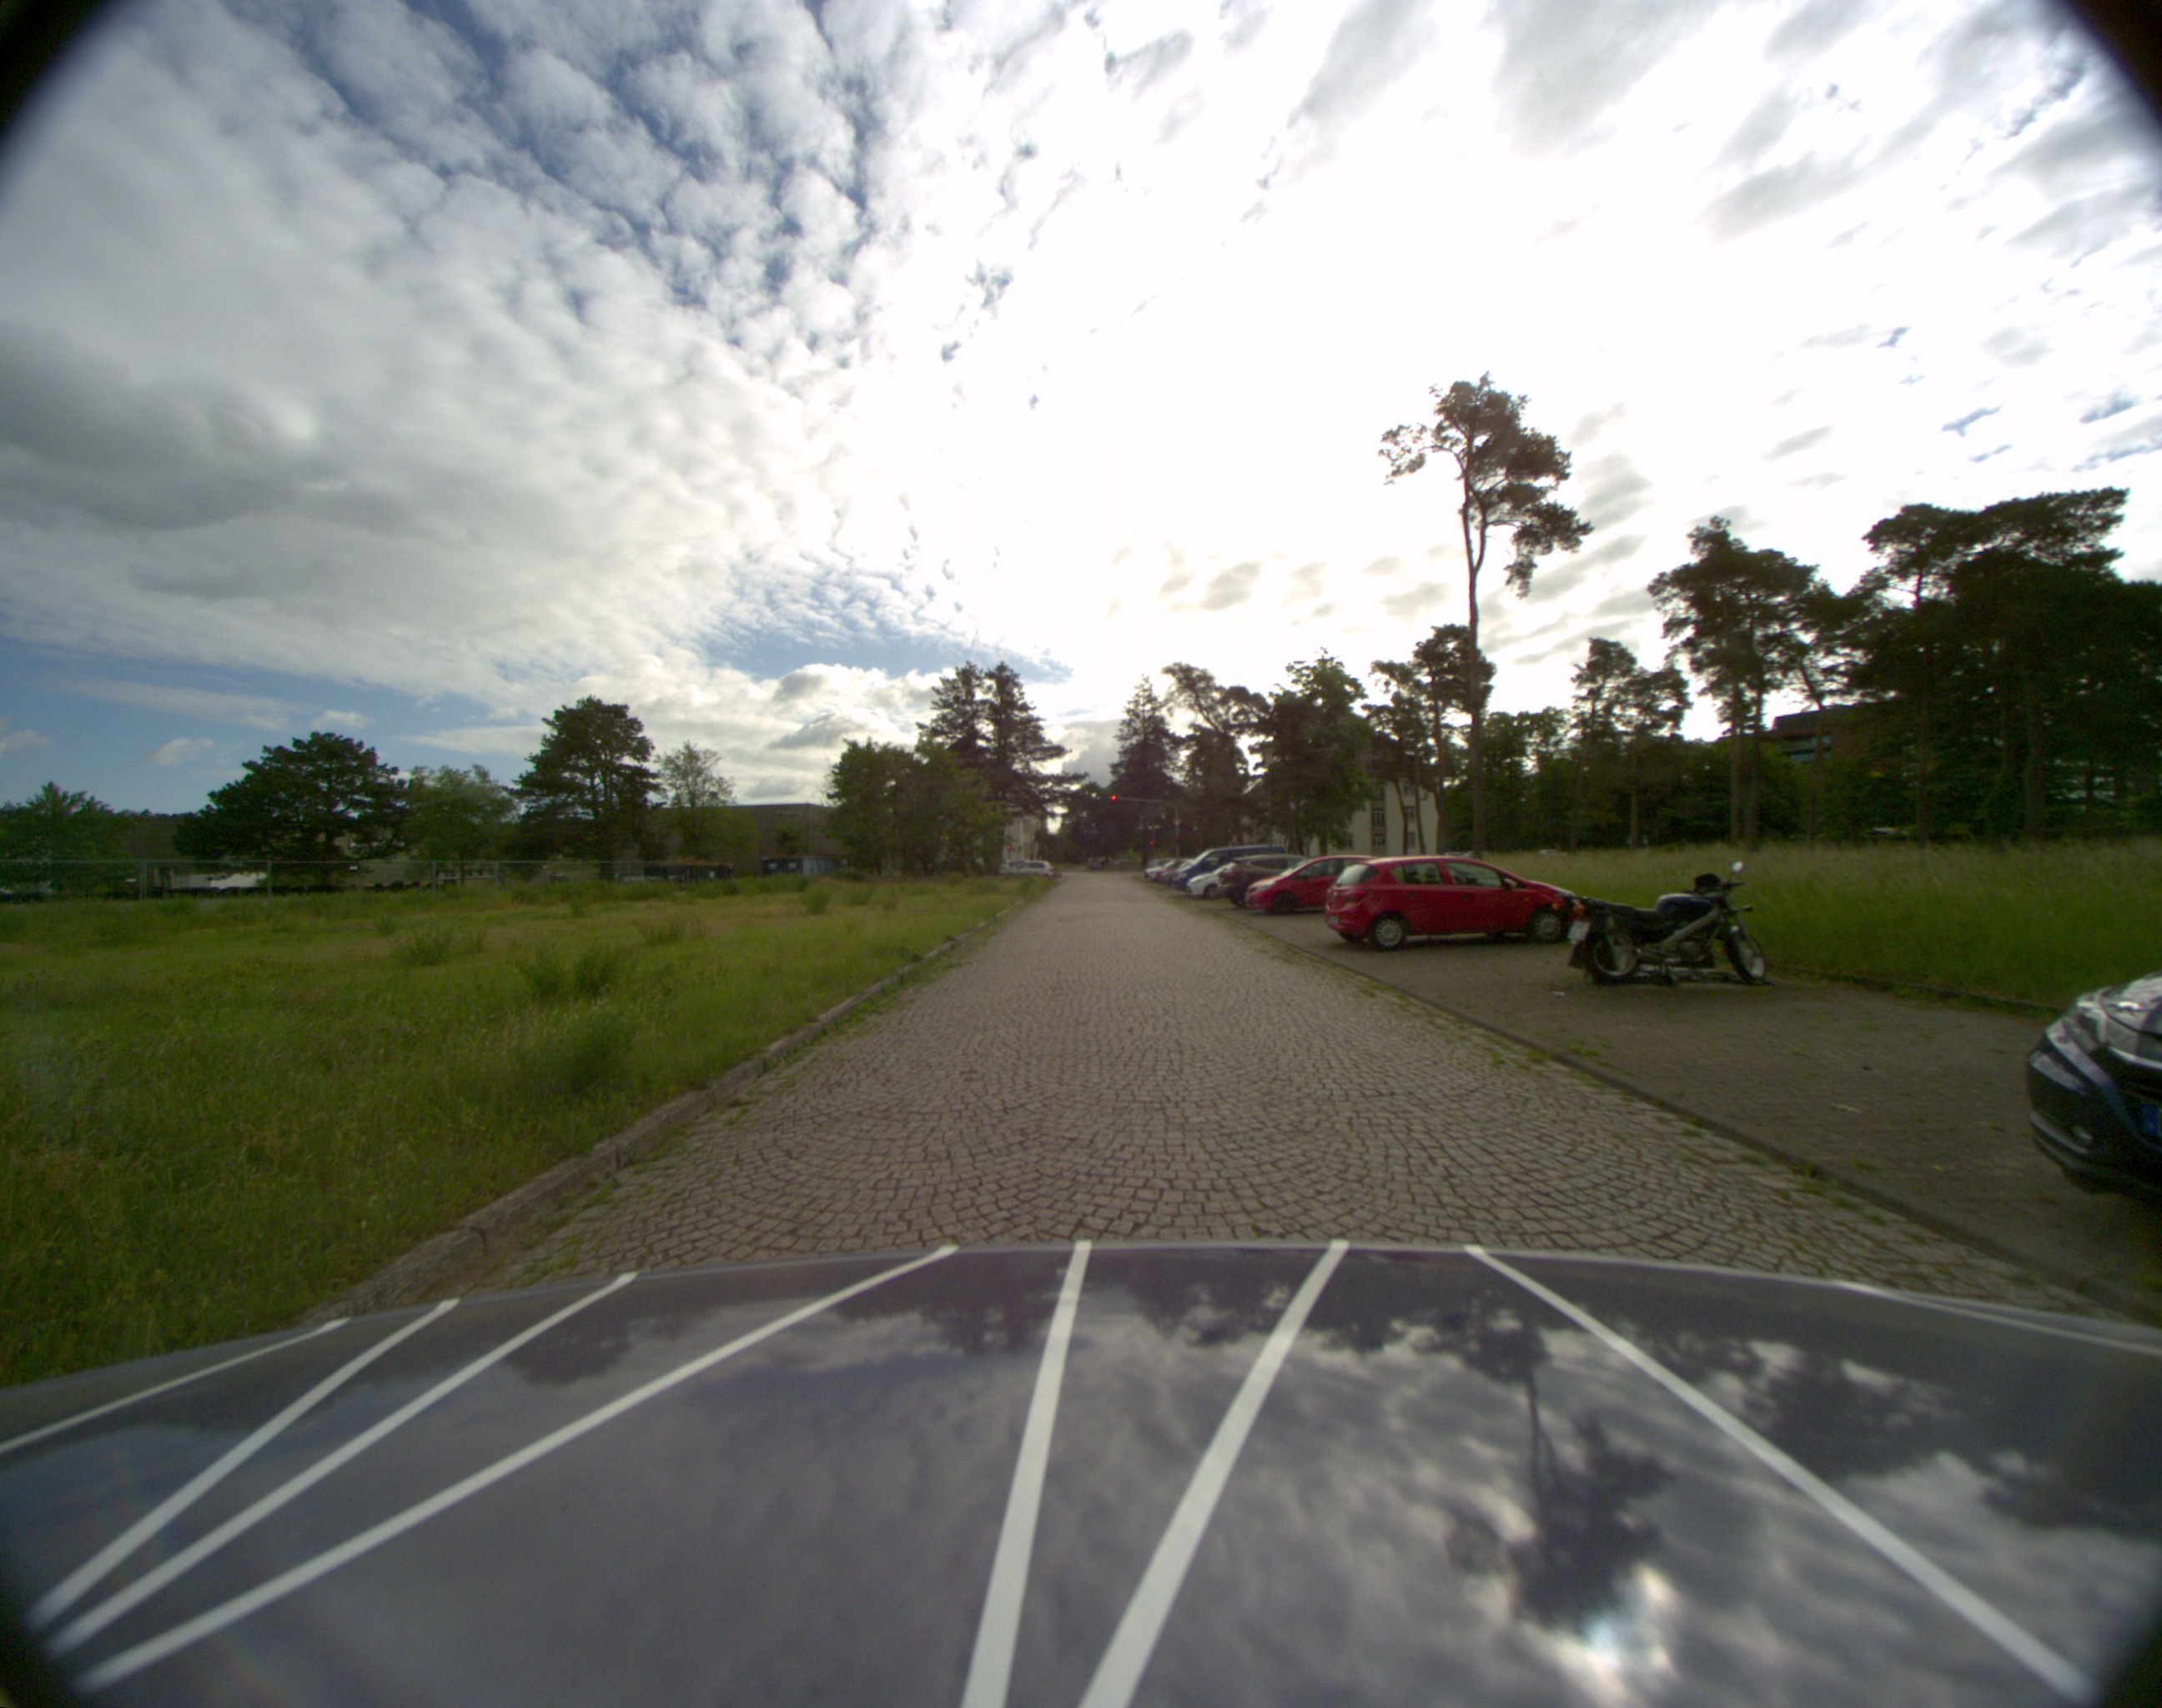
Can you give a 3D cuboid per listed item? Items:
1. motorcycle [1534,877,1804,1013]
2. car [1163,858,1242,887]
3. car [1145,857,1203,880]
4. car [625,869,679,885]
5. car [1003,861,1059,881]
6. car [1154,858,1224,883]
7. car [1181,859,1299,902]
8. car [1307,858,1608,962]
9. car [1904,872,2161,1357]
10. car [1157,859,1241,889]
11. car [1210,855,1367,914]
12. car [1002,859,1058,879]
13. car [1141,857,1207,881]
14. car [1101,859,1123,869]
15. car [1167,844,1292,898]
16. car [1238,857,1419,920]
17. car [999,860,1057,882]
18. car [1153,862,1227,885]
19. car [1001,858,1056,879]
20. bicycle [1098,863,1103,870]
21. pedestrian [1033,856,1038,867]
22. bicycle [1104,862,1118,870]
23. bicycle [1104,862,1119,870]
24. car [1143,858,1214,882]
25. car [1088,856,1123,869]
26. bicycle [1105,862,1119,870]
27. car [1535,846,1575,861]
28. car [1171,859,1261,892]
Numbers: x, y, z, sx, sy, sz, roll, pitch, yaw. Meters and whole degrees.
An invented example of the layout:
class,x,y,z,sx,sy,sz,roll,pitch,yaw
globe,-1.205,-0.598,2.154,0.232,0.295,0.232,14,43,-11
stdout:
class,x,y,z,sx,sy,sz,roll,pitch,yaw
motorcycle,6.274,0.952,8.196,2.280,1.284,0.719,-3,0,2
car,6.828,1.026,42.985,4.176,1.473,1.846,-1,0,2
car,6.768,1.066,55.789,3.997,1.534,1.905,-1,0,0
car,-41.386,2.217,73.334,3.998,1.474,1.972,-1,0,-2
car,-3.747,1.269,57.633,4.084,1.444,1.885,1,0,-1
car,6.782,1.048,48.015,4.176,1.468,1.865,-1,0,0
car,6.073,0.994,29.343,4.177,1.501,1.781,-1,0,-1
car,6.095,0.868,12.675,4.065,1.516,1.905,-1,0,-1
car,5.712,0.812,2.363,4.239,1.568,1.887,-2,0,0
car,6.147,1.034,40.067,4.176,1.483,1.865,-1,0,2
car,6.202,0.885,23.047,4.177,1.612,1.986,-1,0,-2
car,-4.157,1.234,62.910,4.504,1.556,1.905,1,0,-1
car,6.462,1.057,53.062,4.262,1.539,1.935,-1,0,-3
car,4.840,1.604,119.341,3.439,1.440,1.913,-1,0,-1
car,6.158,0.695,31.931,4.794,2.109,2.115,-1,0,0
car,6.497,0.888,20.301,4.177,1.501,1.907,-1,0,0
car,-3.798,1.220,54.924,4.084,1.506,1.804,1,0,-1
car,6.506,1.154,45.647,4.176,1.259,1.831,-1,0,2
car,-4.135,1.150,60.357,4.251,1.587,1.885,1,0,-3
bicycle,2.591,1.663,101.153,0.459,0.903,1.663,-1,0,5
pedestrian,-7.204,1.179,120.151,0.568,1.691,0.532,-1,0,4
bicycle,4.131,1.644,104.553,1.898,1.058,0.616,-1,0,-1
bicycle,4.193,1.615,105.107,1.950,1.104,0.563,-1,0,-1
car,6.403,1.056,50.318,4.385,1.498,1.935,-1,0,-1
car,3.914,1.397,122.991,5.366,1.987,2.290,-1,0,-7
bicycle,4.376,1.628,106.281,1.950,1.058,0.563,-1,0,-1
car,60.493,-0.053,96.994,3.996,1.796,1.723,-1,0,4
car,6.555,1.029,37.220,4.077,1.488,1.846,-1,0,2
